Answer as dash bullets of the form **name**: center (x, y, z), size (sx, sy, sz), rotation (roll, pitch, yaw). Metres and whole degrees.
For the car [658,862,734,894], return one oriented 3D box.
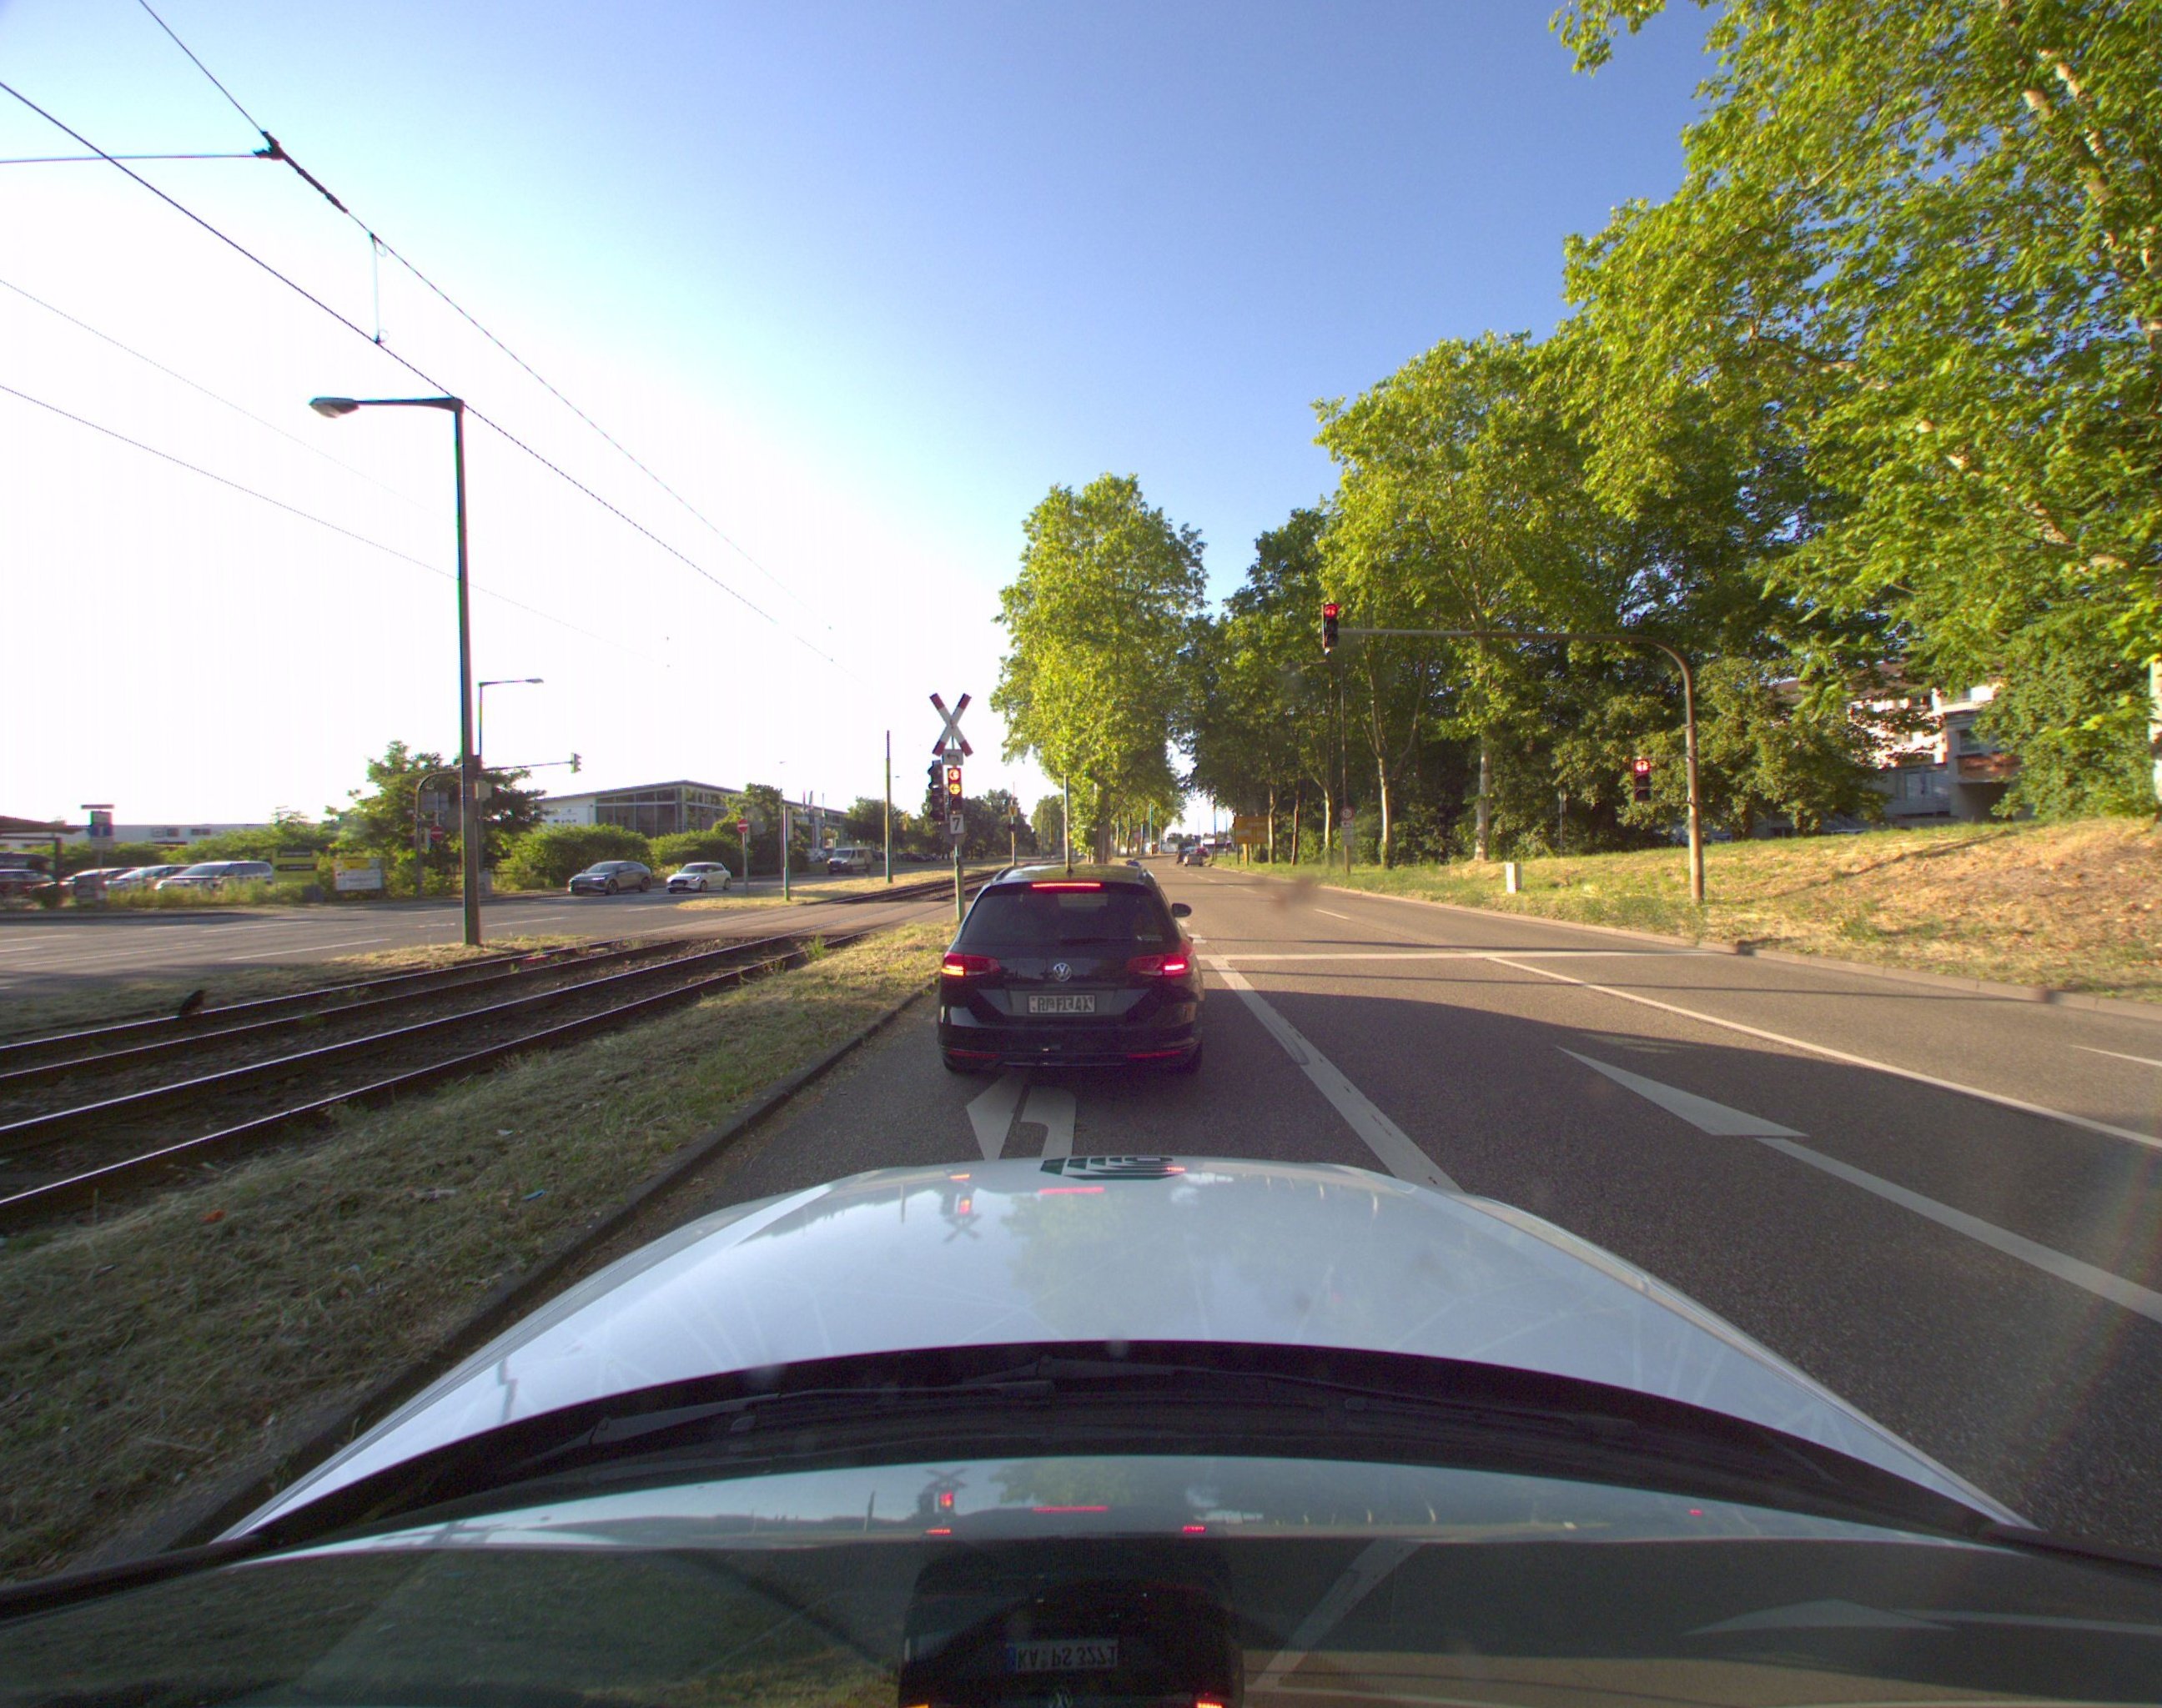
- **car**: center (-19.715, 1.177, 41.916), size (1.855, 1.481, 4.093), rotation (0, 0, 2)

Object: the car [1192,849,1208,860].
- **car**: center (18.632, 0.109, 127.200), size (1.858, 1.635, 4.388), rotation (2, 0, 15)

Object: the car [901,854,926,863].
- **car**: center (-28.775, 0.765, 139.677), size (3.978, 1.621, 1.742), rotation (-1, 0, -3)

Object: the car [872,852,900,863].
- **car**: center (-30.128, 0.587, 125.953), size (3.978, 1.621, 1.742), rotation (-1, 0, -3)

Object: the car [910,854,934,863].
- **car**: center (-29.267, 0.909, 150.014), size (3.978, 1.621, 1.742), rotation (-1, 0, -3)

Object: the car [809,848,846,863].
- **car**: center (-29.268, 0.144, 94.120), size (3.999, 1.704, 1.732), rotation (-1, 0, -19)

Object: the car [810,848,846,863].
- **car**: center (-29.957, 0.162, 96.389), size (3.999, 1.704, 1.732), rotation (-1, 0, -19)

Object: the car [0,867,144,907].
- **car**: center (-44.713, 1.400, 35.897), size (1.855, 1.583, 4.174), rotation (0, 0, 2)

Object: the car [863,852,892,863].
- **car**: center (-30.616, 0.543, 122.752), size (3.978, 1.621, 1.742), rotation (-1, 0, -3)

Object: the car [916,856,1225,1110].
- **car**: center (-0.018, 0.757, 6.531), size (1.788, 1.464, 3.584), rotation (0, 0, 1)

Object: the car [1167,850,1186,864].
- **car**: center (10.850, 0.361, 92.722), size (1.701, 1.561, 4.167), rotation (-1, 0, 2)

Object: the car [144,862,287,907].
- **car**: center (-38.525, 1.319, 36.416), size (1.855, 1.821, 4.174), rotation (0, 0, 2)

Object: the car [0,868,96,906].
- **car**: center (-47.162, 1.449, 36.049), size (1.970, 1.583, 4.174), rotation (0, 0, 2)

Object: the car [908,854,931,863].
- **car**: center (-29.115, 0.865, 146.845), size (3.978, 1.621, 1.742), rotation (-1, 0, -3)

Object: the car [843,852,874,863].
- **car**: center (-31.445, 0.473, 115.319), size (3.983, 1.556, 1.739), rotation (-1, 0, -7)

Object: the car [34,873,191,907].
- **car**: center (-42.473, 1.560, 35.894), size (1.855, 1.267, 4.174), rotation (0, 0, 2)

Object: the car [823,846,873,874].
- **car**: center (-21.327, 0.538, 74.803), size (2.082, 2.461, 5.868), rotation (0, 0, 10)

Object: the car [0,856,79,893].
- **car**: center (-60.424, 1.148, 45.908), size (1.855, 2.014, 4.773), rotation (0, 0, 2)

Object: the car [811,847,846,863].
- **car**: center (-30.609, 0.126, 98.743), size (3.999, 1.816, 1.732), rotation (-1, 0, -19)

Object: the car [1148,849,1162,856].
- **car**: center (15.612, -0.340, 171.840), size (1.976, 1.420, 4.022), rotation (-1, 0, 22)

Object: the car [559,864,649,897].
- **car**: center (-23.895, 1.276, 40.987), size (1.854, 1.481, 4.176), rotation (0, 0, 3)

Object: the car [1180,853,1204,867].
- **car**: center (10.836, 0.556, 79.778), size (1.605, 1.294, 3.978), rotation (0, 0, -3)

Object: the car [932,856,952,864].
- **car**: center (-28.824, 1.182, 168.926), size (3.977, 1.556, 1.742), rotation (-1, 0, -2)
